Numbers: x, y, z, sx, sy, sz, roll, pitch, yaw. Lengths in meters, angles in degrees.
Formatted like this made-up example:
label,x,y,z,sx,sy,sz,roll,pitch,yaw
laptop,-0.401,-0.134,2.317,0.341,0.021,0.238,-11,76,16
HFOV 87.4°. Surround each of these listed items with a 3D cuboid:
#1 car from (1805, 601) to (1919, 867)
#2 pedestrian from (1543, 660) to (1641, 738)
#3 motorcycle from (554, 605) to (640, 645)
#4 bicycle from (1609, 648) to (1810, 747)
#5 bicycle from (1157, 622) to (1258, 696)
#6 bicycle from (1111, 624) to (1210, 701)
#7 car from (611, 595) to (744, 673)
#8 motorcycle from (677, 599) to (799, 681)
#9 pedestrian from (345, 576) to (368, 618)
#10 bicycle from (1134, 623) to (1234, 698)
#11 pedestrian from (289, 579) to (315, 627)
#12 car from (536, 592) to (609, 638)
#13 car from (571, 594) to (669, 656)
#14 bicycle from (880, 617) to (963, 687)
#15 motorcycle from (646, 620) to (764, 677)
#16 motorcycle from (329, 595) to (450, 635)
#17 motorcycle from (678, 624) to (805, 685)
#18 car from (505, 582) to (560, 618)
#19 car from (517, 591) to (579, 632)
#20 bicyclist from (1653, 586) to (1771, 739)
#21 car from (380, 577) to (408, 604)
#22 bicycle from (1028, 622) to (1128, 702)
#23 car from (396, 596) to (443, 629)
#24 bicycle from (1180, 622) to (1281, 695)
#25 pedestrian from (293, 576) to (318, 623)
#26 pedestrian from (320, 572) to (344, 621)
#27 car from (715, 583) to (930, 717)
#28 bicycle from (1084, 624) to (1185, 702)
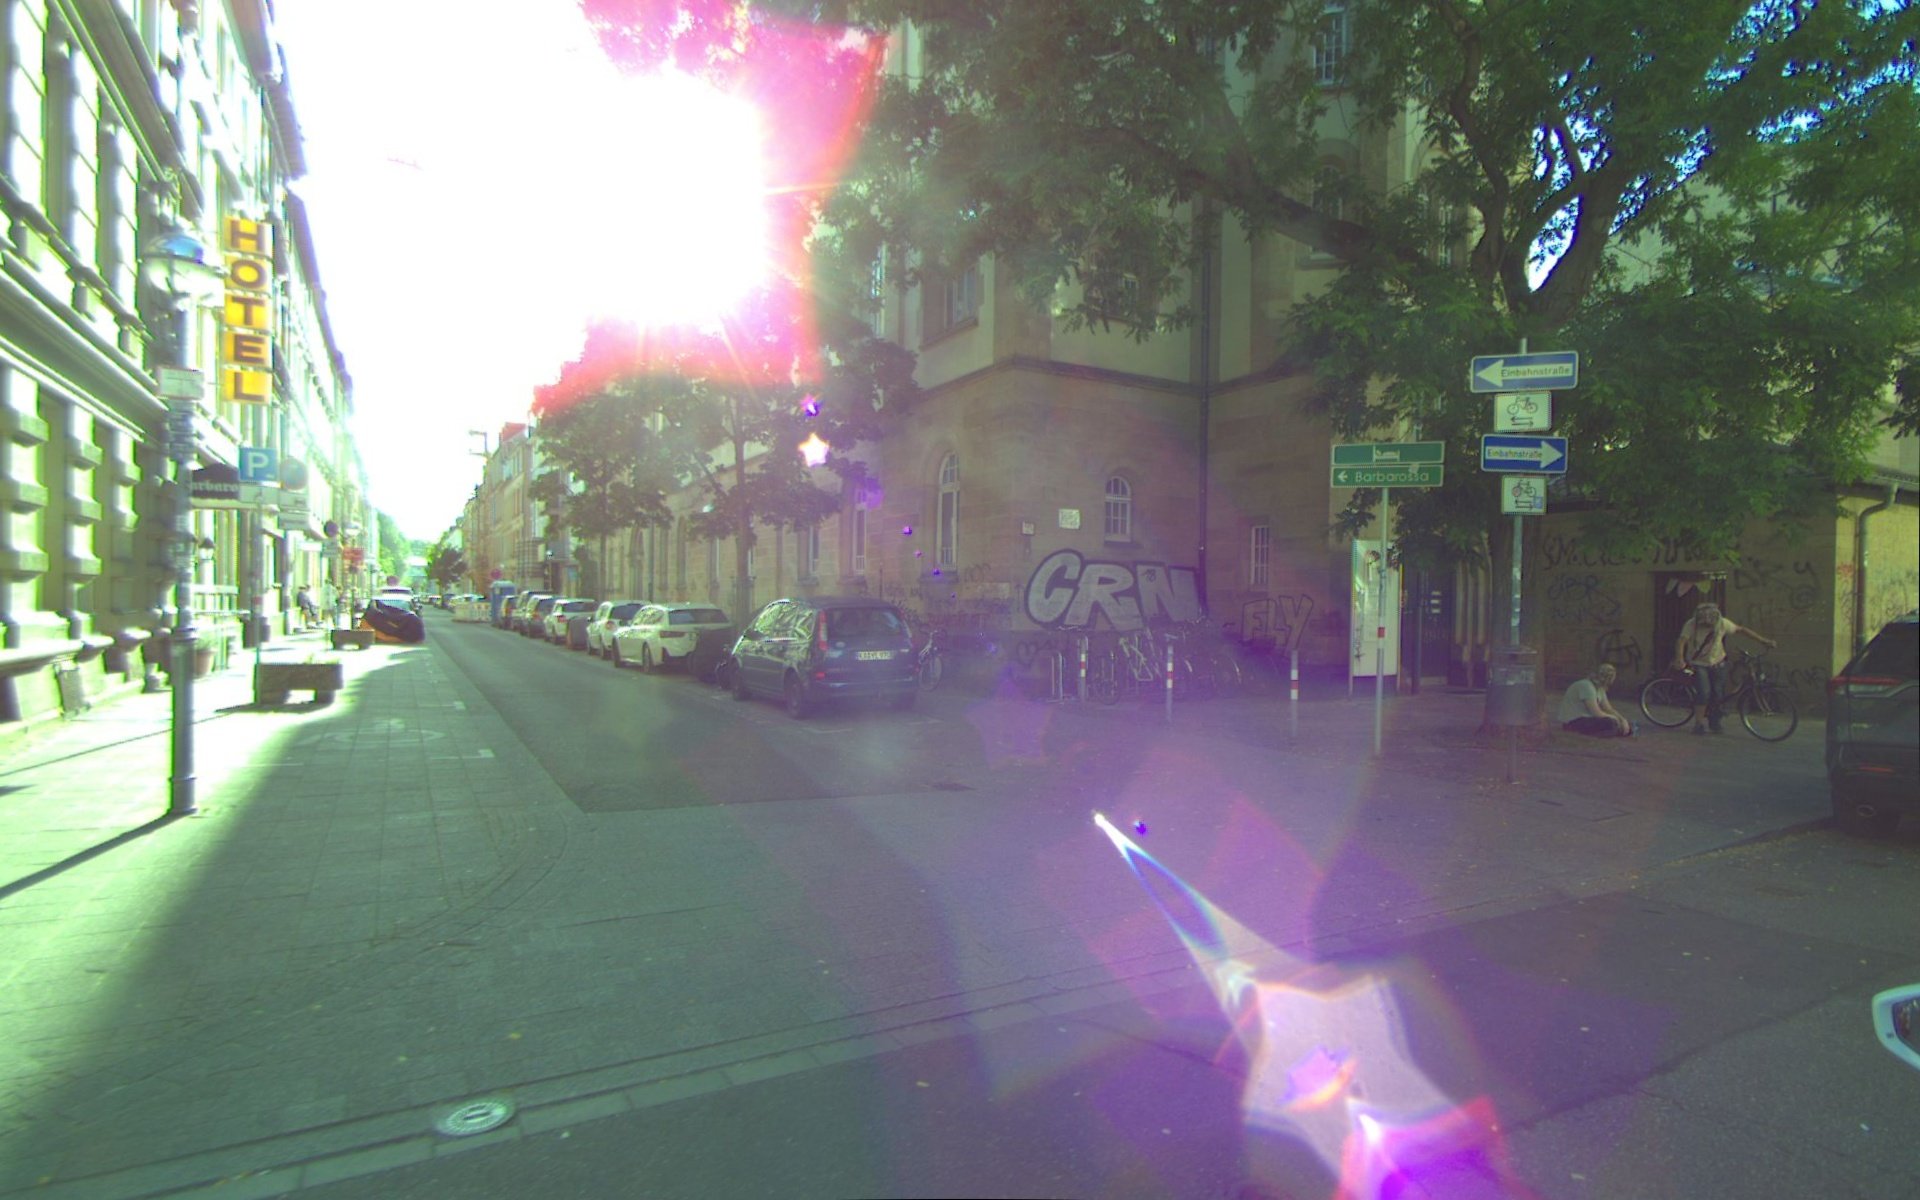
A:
label,x,y,z,sx,sy,sz,roll,pitch,yaw
car,7.993,0.883,7.220,4.242,1.668,1.731,1,0,-32
pedestrian,7.324,1.127,11.648,0.904,0.788,0.700,1,0,37
motorcycle,-10.929,0.755,30.274,2.283,1.076,0.917,3,-1,-29
bicycle,9.080,1.148,12.257,0.814,0.935,1.758,1,3,-21
bicycle,3.947,0.909,16.158,0.473,1.068,1.767,0,1,-30
bicycle,3.100,0.946,15.712,0.473,1.068,1.767,0,1,-30
car,-6.208,0.657,21.743,1.775,1.439,4.243,1,1,-30
motorcycle,-4.082,0.721,18.559,2.080,1.440,0.656,1,1,-31
pedestrian,-23.442,-0.127,39.028,0.703,1.588,0.718,1,4,-30
bicycle,3.507,0.924,15.884,0.473,1.068,1.767,0,1,-30
pedestrian,-25.458,0.122,38.869,0.714,1.782,0.707,2,4,-24
car,-13.407,0.491,34.645,1.711,1.439,4.105,1,1,-30
car,-9.335,0.617,27.363,1.711,1.481,4.243,1,1,-30
bicycle,-0.699,0.860,17.237,0.527,1.068,2.063,0,1,-30
motorcycle,-4.858,0.913,19.184,2.080,1.005,0.656,1,1,-31
motorcycle,-18.060,0.481,31.863,2.999,1.076,1.336,3,-1,-6
motorcycle,-3.763,0.931,17.390,2.080,0.988,0.566,1,1,-31
car,-18.587,-0.022,43.549,1.711,1.439,3.889,1,1,-30
car,-16.015,0.420,38.960,1.711,1.439,3.889,1,1,-30
bicyclist,9.107,0.734,12.190,0.682,1.746,0.803,1,3,-21
car,-49.202,-0.854,87.356,2.029,2.133,4.604,1,2,-29
bicycle,1.727,0.889,14.976,0.527,1.068,1.767,0,1,-30
car,-20.784,0.459,38.579,1.369,1.178,3.296,1,0,-33
bicycle,4.399,0.930,16.463,0.473,1.068,1.767,0,1,-30
pedestrian,-25.884,-0.016,39.739,0.714,1.782,0.707,2,4,-24
pedestrian,-23.817,-0.136,38.083,0.703,1.782,0.718,1,4,-30
car,-2.128,0.577,14.550,1.749,1.620,3.968,-1,2,-30
bicycle,2.647,0.936,15.443,0.527,1.068,1.767,0,1,-30
